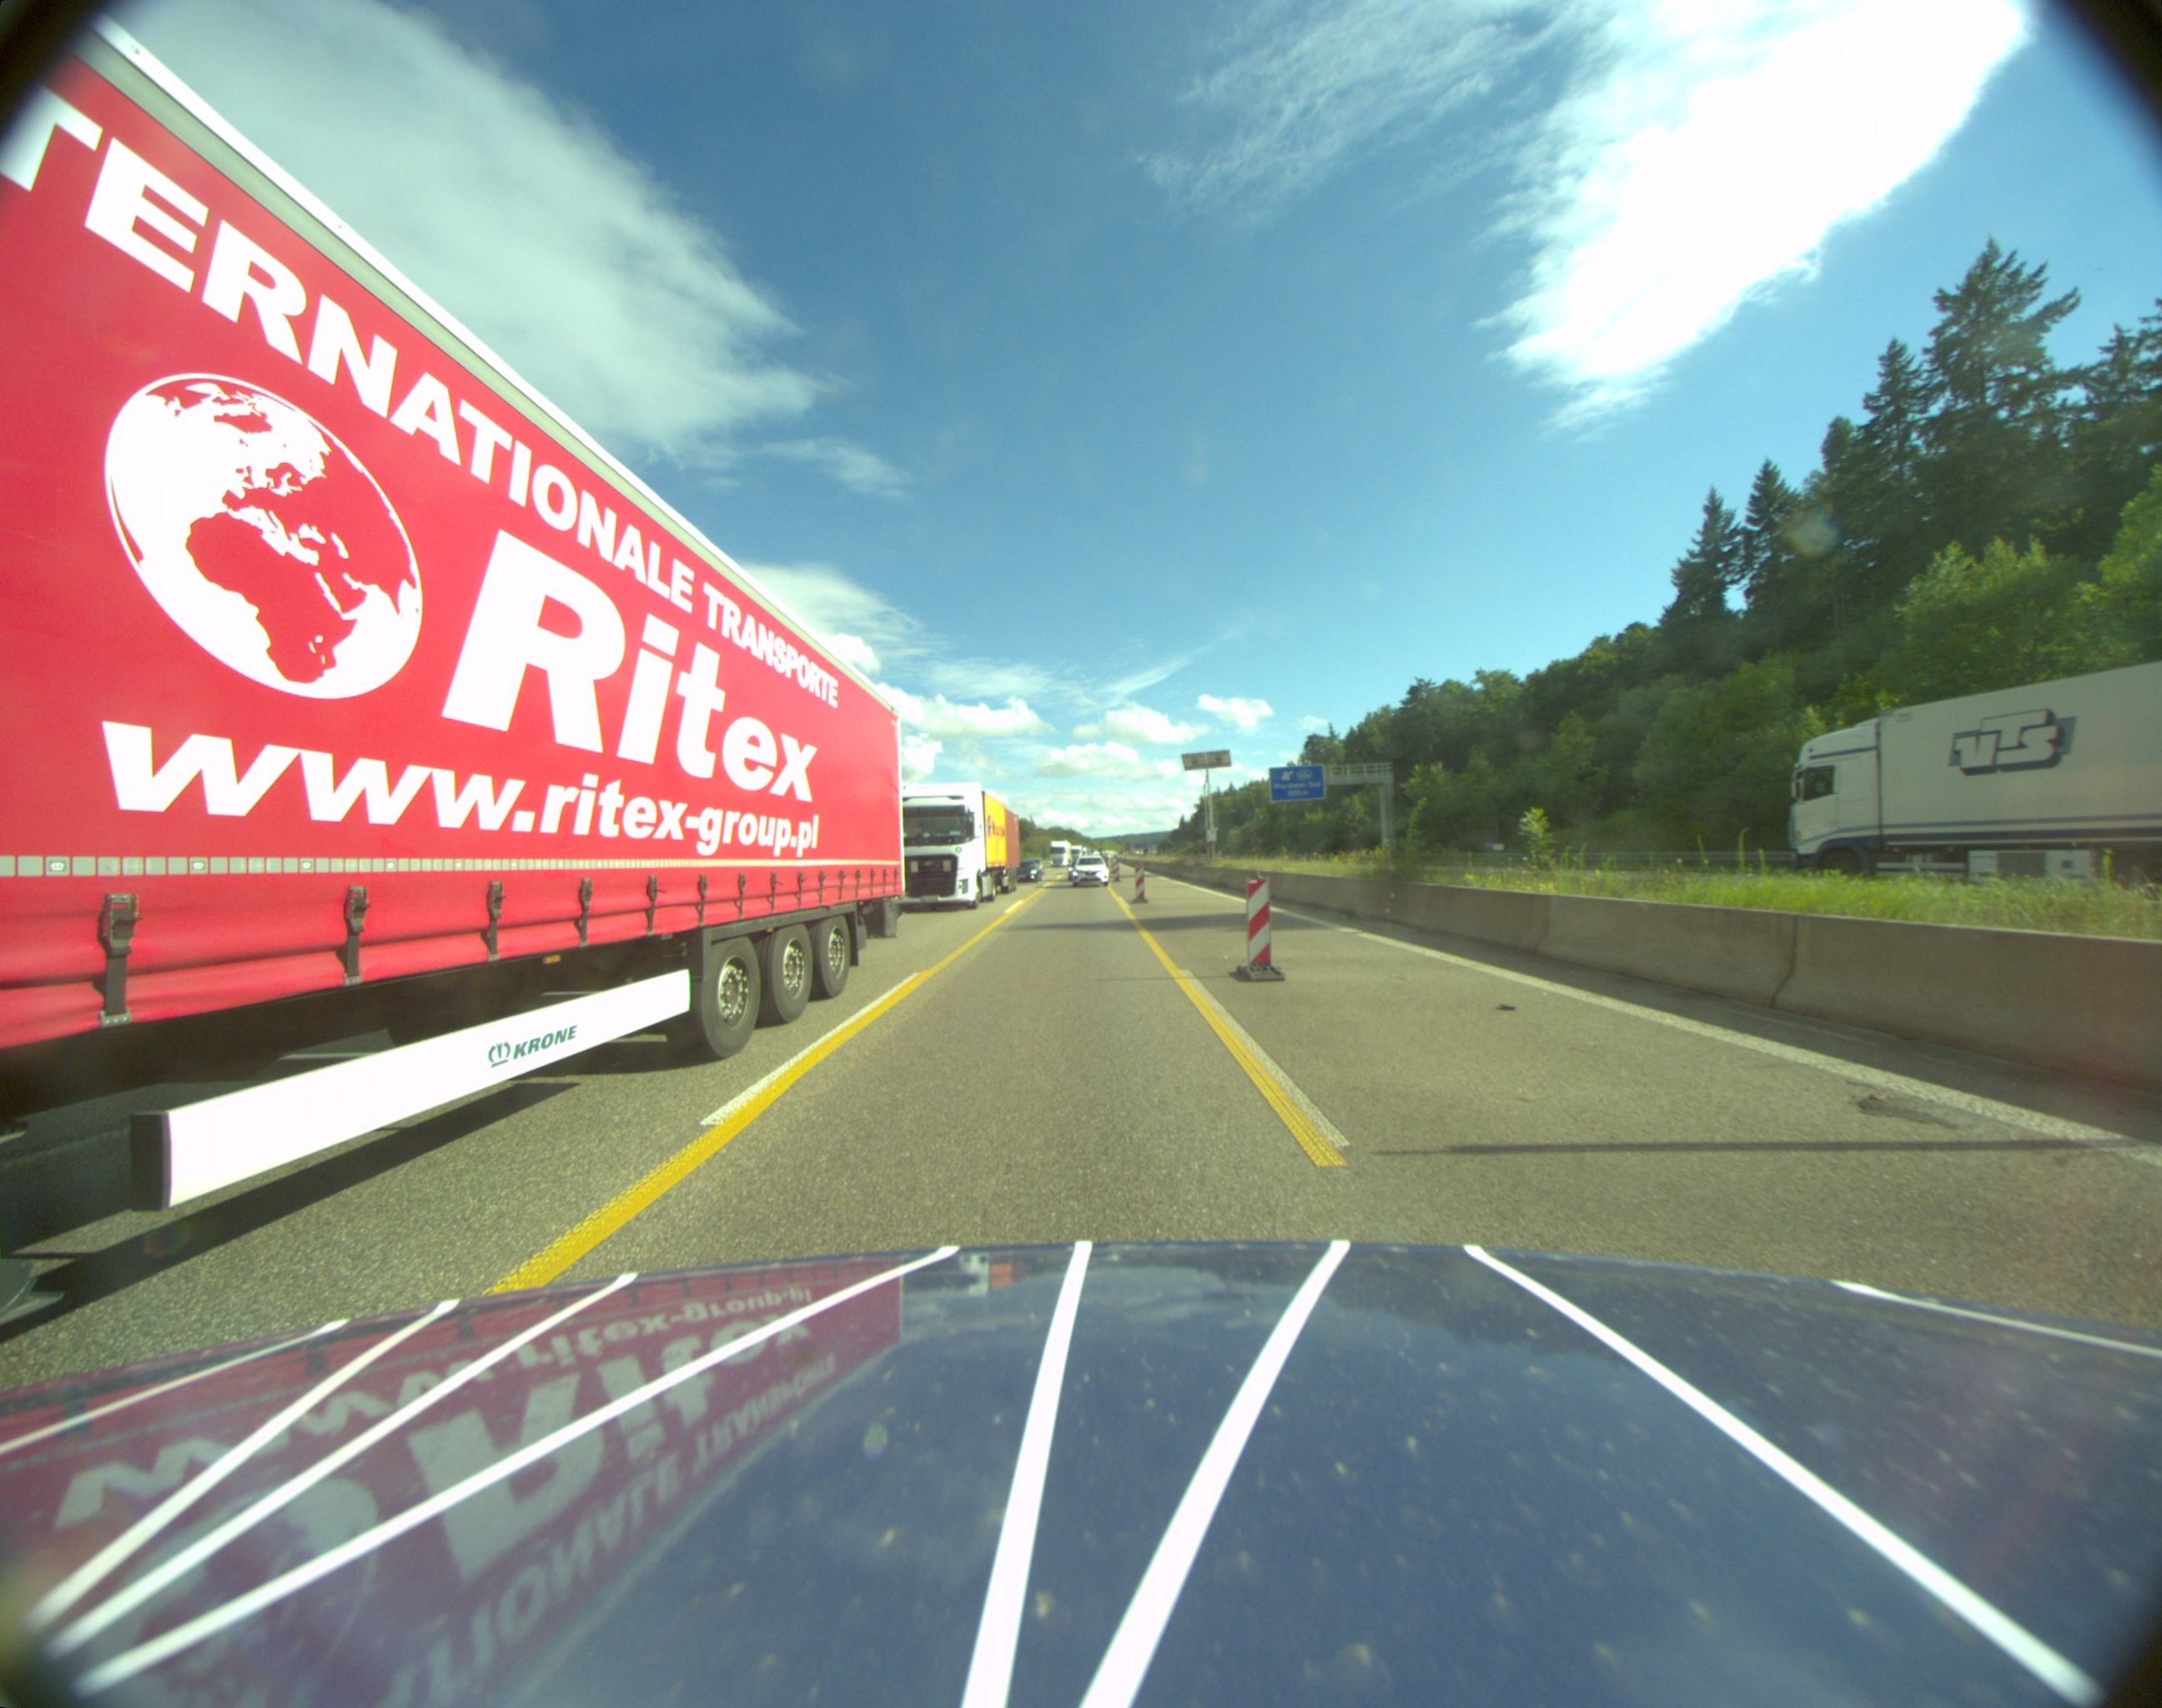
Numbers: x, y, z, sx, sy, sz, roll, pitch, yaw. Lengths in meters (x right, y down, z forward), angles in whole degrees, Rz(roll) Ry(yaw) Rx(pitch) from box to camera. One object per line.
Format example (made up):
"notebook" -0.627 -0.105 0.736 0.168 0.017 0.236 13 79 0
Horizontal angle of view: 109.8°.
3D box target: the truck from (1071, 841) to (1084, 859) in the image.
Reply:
"truck" -0.756 -0.996 181.576 2.640 4.092 8.196 -2 0 3

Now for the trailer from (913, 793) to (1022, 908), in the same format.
"trailer" -4.266 -0.138 31.516 2.478 3.753 12.135 -2 0 0

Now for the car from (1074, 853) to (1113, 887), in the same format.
"car" 0.585 0.786 39.000 1.840 1.528 3.882 -2 1 -1

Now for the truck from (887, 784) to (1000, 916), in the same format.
"truck" -4.315 -0.146 25.027 2.501 3.759 5.789 -2 1 0

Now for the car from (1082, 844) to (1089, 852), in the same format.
"car" 1.305 -1.741 219.609 1.998 2.188 3.999 -2 1 1

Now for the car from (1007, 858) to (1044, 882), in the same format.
"car" -3.505 0.974 48.744 1.933 1.342 4.477 -2 0 1

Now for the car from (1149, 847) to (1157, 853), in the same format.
"car" 19.246 -1.092 203.007 1.665 1.572 3.911 -2 1 0

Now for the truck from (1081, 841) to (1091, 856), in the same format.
"truck" 1.457 -1.507 219.274 2.641 4.092 8.195 -3 0 0

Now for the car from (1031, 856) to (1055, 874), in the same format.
"car" -3.405 0.966 68.526 1.761 1.471 3.968 -2 1 2

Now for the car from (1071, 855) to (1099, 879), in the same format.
"car" 0.272 0.831 49.991 1.692 1.471 3.754 -2 1 1

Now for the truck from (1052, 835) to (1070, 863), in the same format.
"truck" -3.135 -0.779 121.304 2.641 4.092 8.194 -2 0 -1

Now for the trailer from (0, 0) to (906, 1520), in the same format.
"trailer" -4.064 -0.327 4.813 2.707 3.946 13.415 -2 1 0

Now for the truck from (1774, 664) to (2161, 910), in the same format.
"truck" 18.808 -1.149 13.627 2.789 3.962 10.860 -2 1 0
